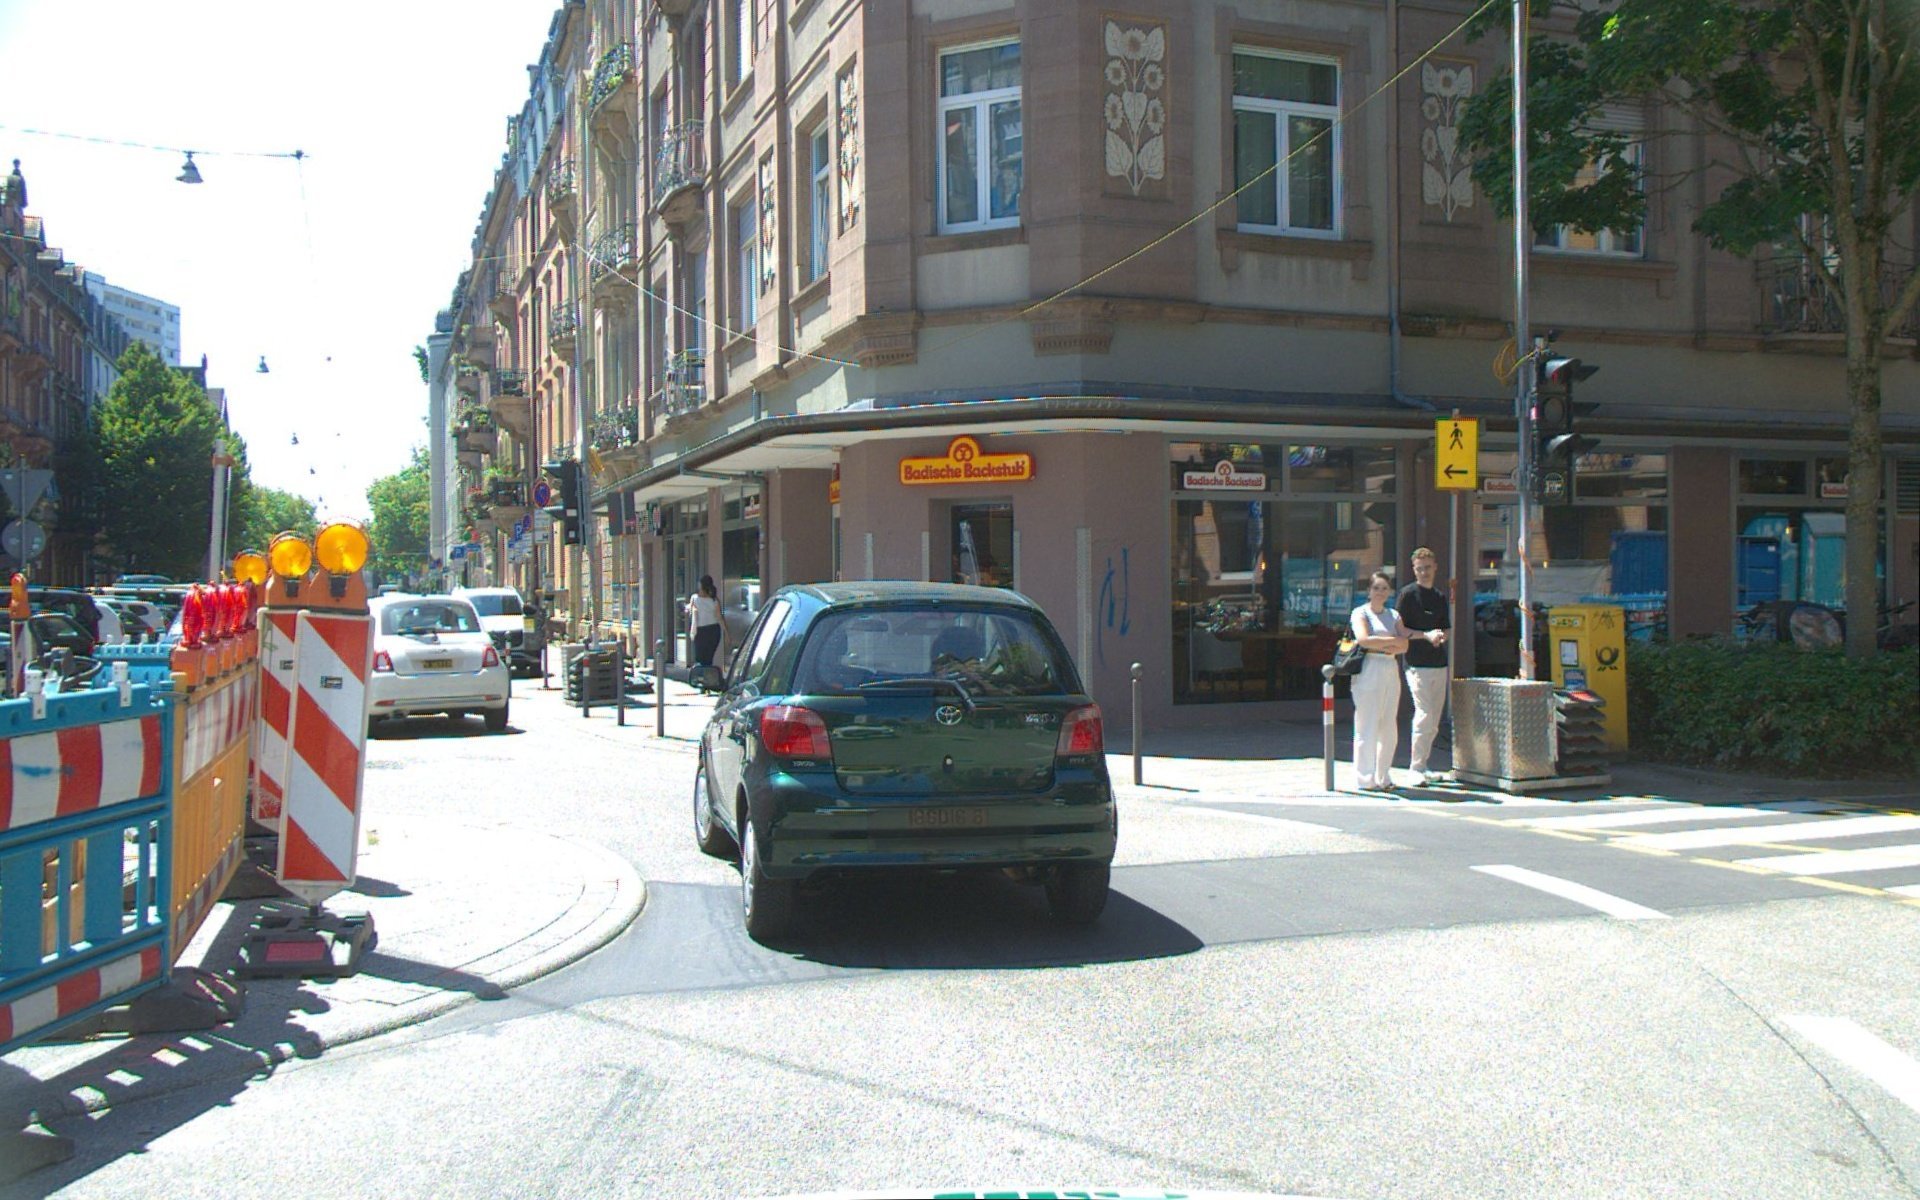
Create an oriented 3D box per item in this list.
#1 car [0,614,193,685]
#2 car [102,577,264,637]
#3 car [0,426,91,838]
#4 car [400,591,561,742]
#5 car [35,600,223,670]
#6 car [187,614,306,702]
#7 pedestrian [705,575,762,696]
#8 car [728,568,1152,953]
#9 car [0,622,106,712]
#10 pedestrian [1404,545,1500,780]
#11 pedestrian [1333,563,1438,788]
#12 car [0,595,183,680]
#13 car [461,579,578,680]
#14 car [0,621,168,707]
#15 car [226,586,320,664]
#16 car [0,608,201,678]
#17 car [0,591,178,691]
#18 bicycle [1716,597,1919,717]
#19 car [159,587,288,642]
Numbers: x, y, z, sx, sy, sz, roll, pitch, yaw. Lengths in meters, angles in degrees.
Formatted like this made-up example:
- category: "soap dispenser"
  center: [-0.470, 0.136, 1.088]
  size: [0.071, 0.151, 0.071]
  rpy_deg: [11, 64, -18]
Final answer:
- category: "car"
  center: [-19.083, 1.061, 36.508]
  size: [3.601, 1.483, 1.599]
  rpy_deg: [1, -1, -43]
- category: "car"
  center: [-27.159, 0.222, 57.948]
  size: [2.017, 2.029, 4.761]
  rpy_deg: [-1, 0, 41]
- category: "car"
  center: [-9.863, 0.177, 11.356]
  size: [6.520, 2.800, 2.367]
  rpy_deg: [1, -1, -19]
- category: "car"
  center: [-5.575, 0.682, 19.029]
  size: [1.501, 1.547, 3.243]
  rpy_deg: [-1, 1, -21]
- category: "car"
  center: [-21.005, 0.854, 41.948]
  size: [1.825, 1.647, 3.915]
  rpy_deg: [-1, 0, 30]
- category: "car"
  center: [-13.473, 1.043, 31.435]
  size: [1.728, 1.469, 3.978]
  rpy_deg: [-2, 0, -19]
- category: "pedestrian"
  center: [-3.194, 0.489, 23.299]
  size: [0.631, 1.652, 0.799]
  rpy_deg: [-1, 0, -19]
- category: "car"
  center: [-0.284, 0.633, 8.243]
  size: [1.585, 1.511, 3.232]
  rpy_deg: [0, 0, -11]
- category: "car"
  center: [-16.213, 1.064, 26.615]
  size: [1.964, 1.400, 3.977]
  rpy_deg: [0, -1, 41]
- category: "pedestrian"
  center: [3.926, 0.480, 13.190]
  size: [0.568, 1.799, 0.467]
  rpy_deg: [-3, 4, -28]
- category: "pedestrian"
  center: [3.318, 0.568, 12.893]
  size: [0.693, 1.673, 0.419]
  rpy_deg: [-3, 4, -28]
- category: "car"
  center: [-18.487, 0.760, 34.302]
  size: [3.967, 1.687, 1.732]
  rpy_deg: [1, -1, -43]
- category: "car"
  center: [-8.616, 0.527, 32.108]
  size: [1.843, 1.743, 4.479]
  rpy_deg: [-3, 1, -19]
- category: "car"
  center: [-16.491, 1.100, 29.323]
  size: [1.933, 1.437, 3.981]
  rpy_deg: [0, -1, 38]
- category: "car"
  center: [-16.581, 0.567, 40.073]
  size: [1.729, 1.673, 4.353]
  rpy_deg: [-4, 1, -19]
- category: "car"
  center: [-20.132, 0.978, 38.778]
  size: [1.825, 1.496, 3.916]
  rpy_deg: [-1, 0, 29]
- category: "car"
  center: [-17.469, 0.757, 31.896]
  size: [1.737, 1.836, 3.977]
  rpy_deg: [0, -1, 41]
- category: "bicycle"
  center: [8.692, 0.562, 16.650]
  size: [1.940, 1.152, 0.516]
  rpy_deg: [-1, 0, -2]
- category: "car"
  center: [-30.712, 0.577, 69.060]
  size: [1.965, 2.226, 4.543]
  rpy_deg: [-1, 0, 43]
